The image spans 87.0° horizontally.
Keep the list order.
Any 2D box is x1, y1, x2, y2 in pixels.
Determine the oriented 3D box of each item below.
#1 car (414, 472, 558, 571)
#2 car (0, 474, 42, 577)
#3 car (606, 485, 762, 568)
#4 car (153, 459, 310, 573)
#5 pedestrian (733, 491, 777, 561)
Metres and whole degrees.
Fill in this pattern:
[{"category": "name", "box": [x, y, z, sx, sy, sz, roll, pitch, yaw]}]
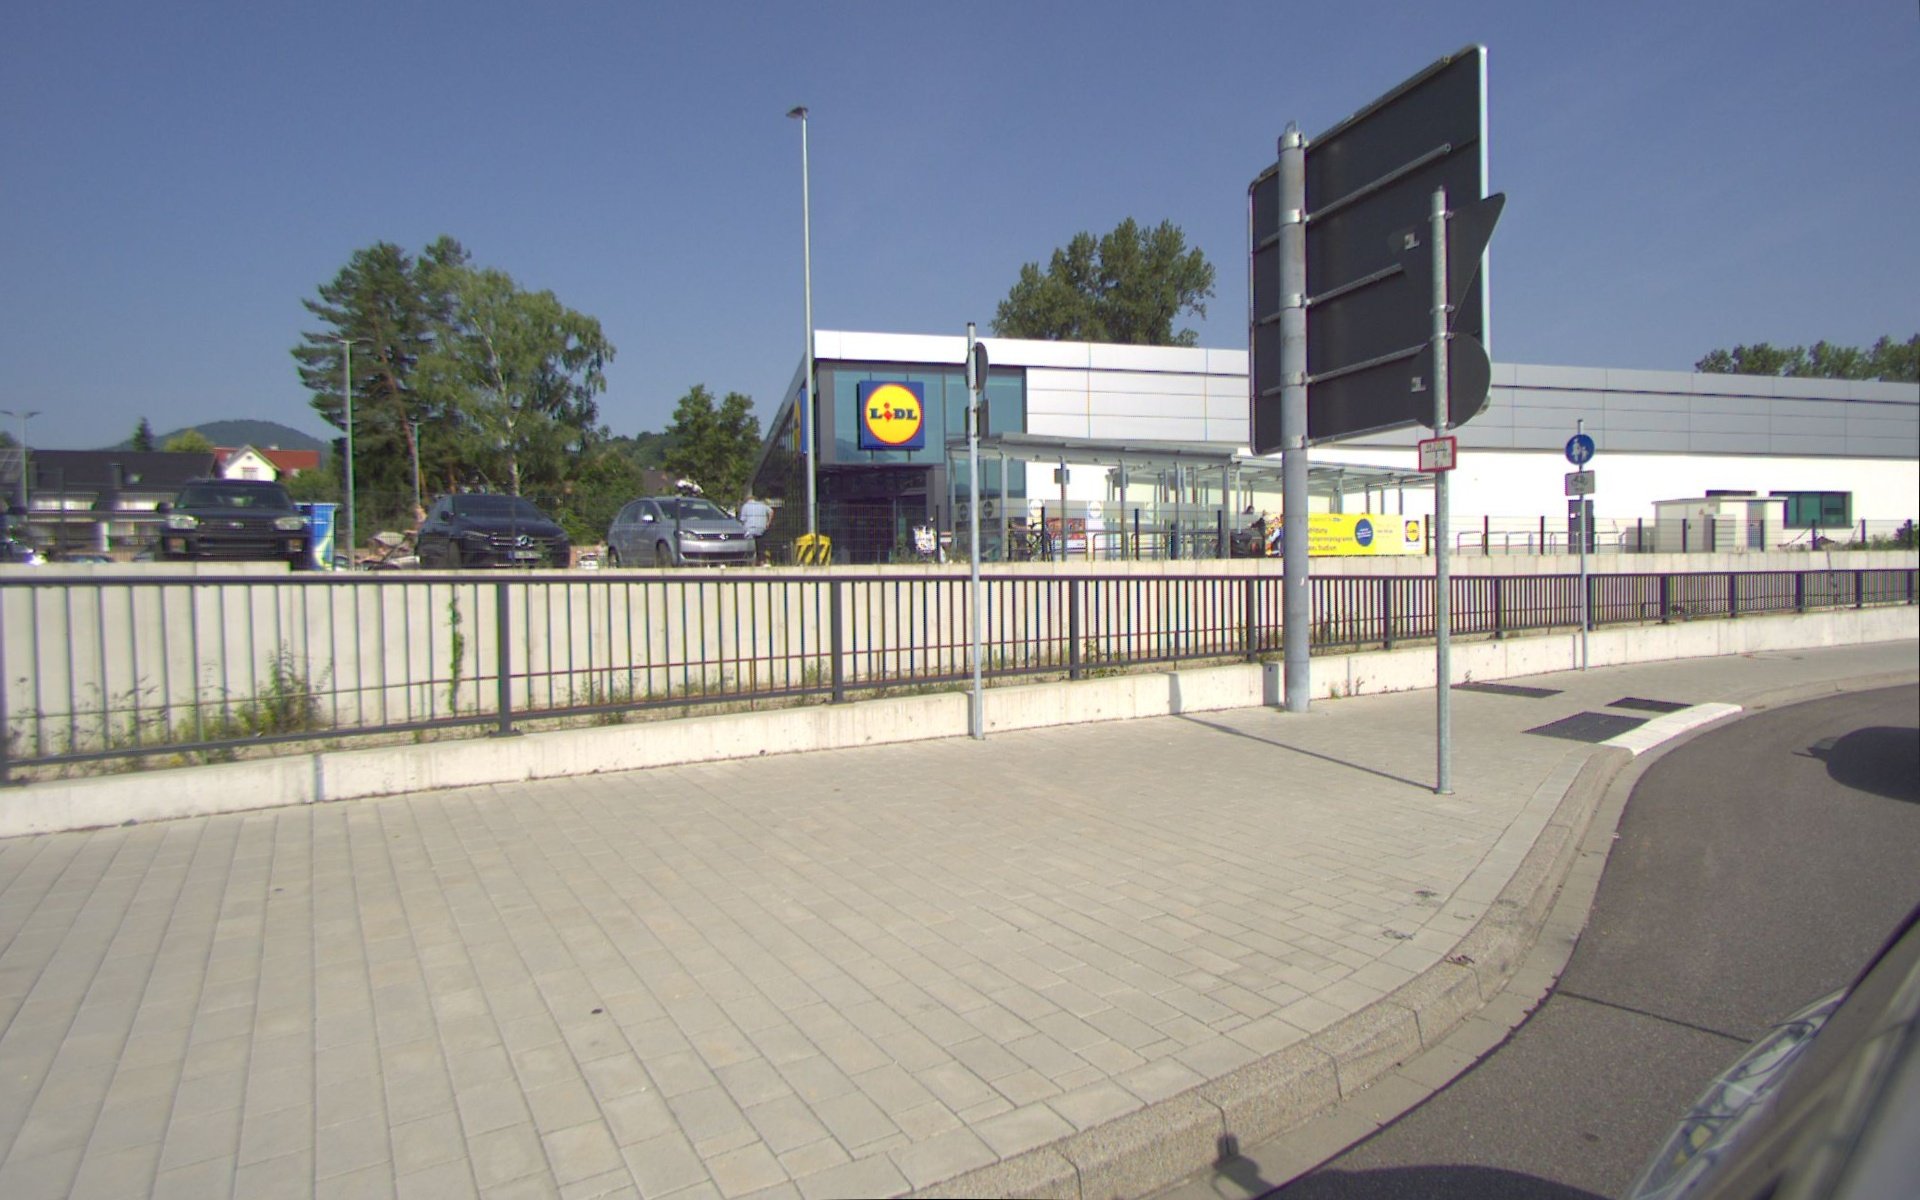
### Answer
[{"category": "car", "box": [-8.161, -1.240, 17.240, 1.458, 1.421, 4.073, -1, 1, -36]}, {"category": "car", "box": [-13.592, -0.950, 13.363, 1.712, 1.261, 4.226, -2, 2, -36]}, {"category": "car", "box": [-5.391, -1.330, 19.470, 1.649, 1.381, 3.817, -2, 1, -36]}, {"category": "car", "box": [-10.934, -1.151, 15.222, 1.693, 1.421, 4.017, -2, 1, -36]}, {"category": "pedestrian", "box": [-4.003, -1.436, 19.743, 0.644, 1.328, 0.549, -2, 2, -34]}]
